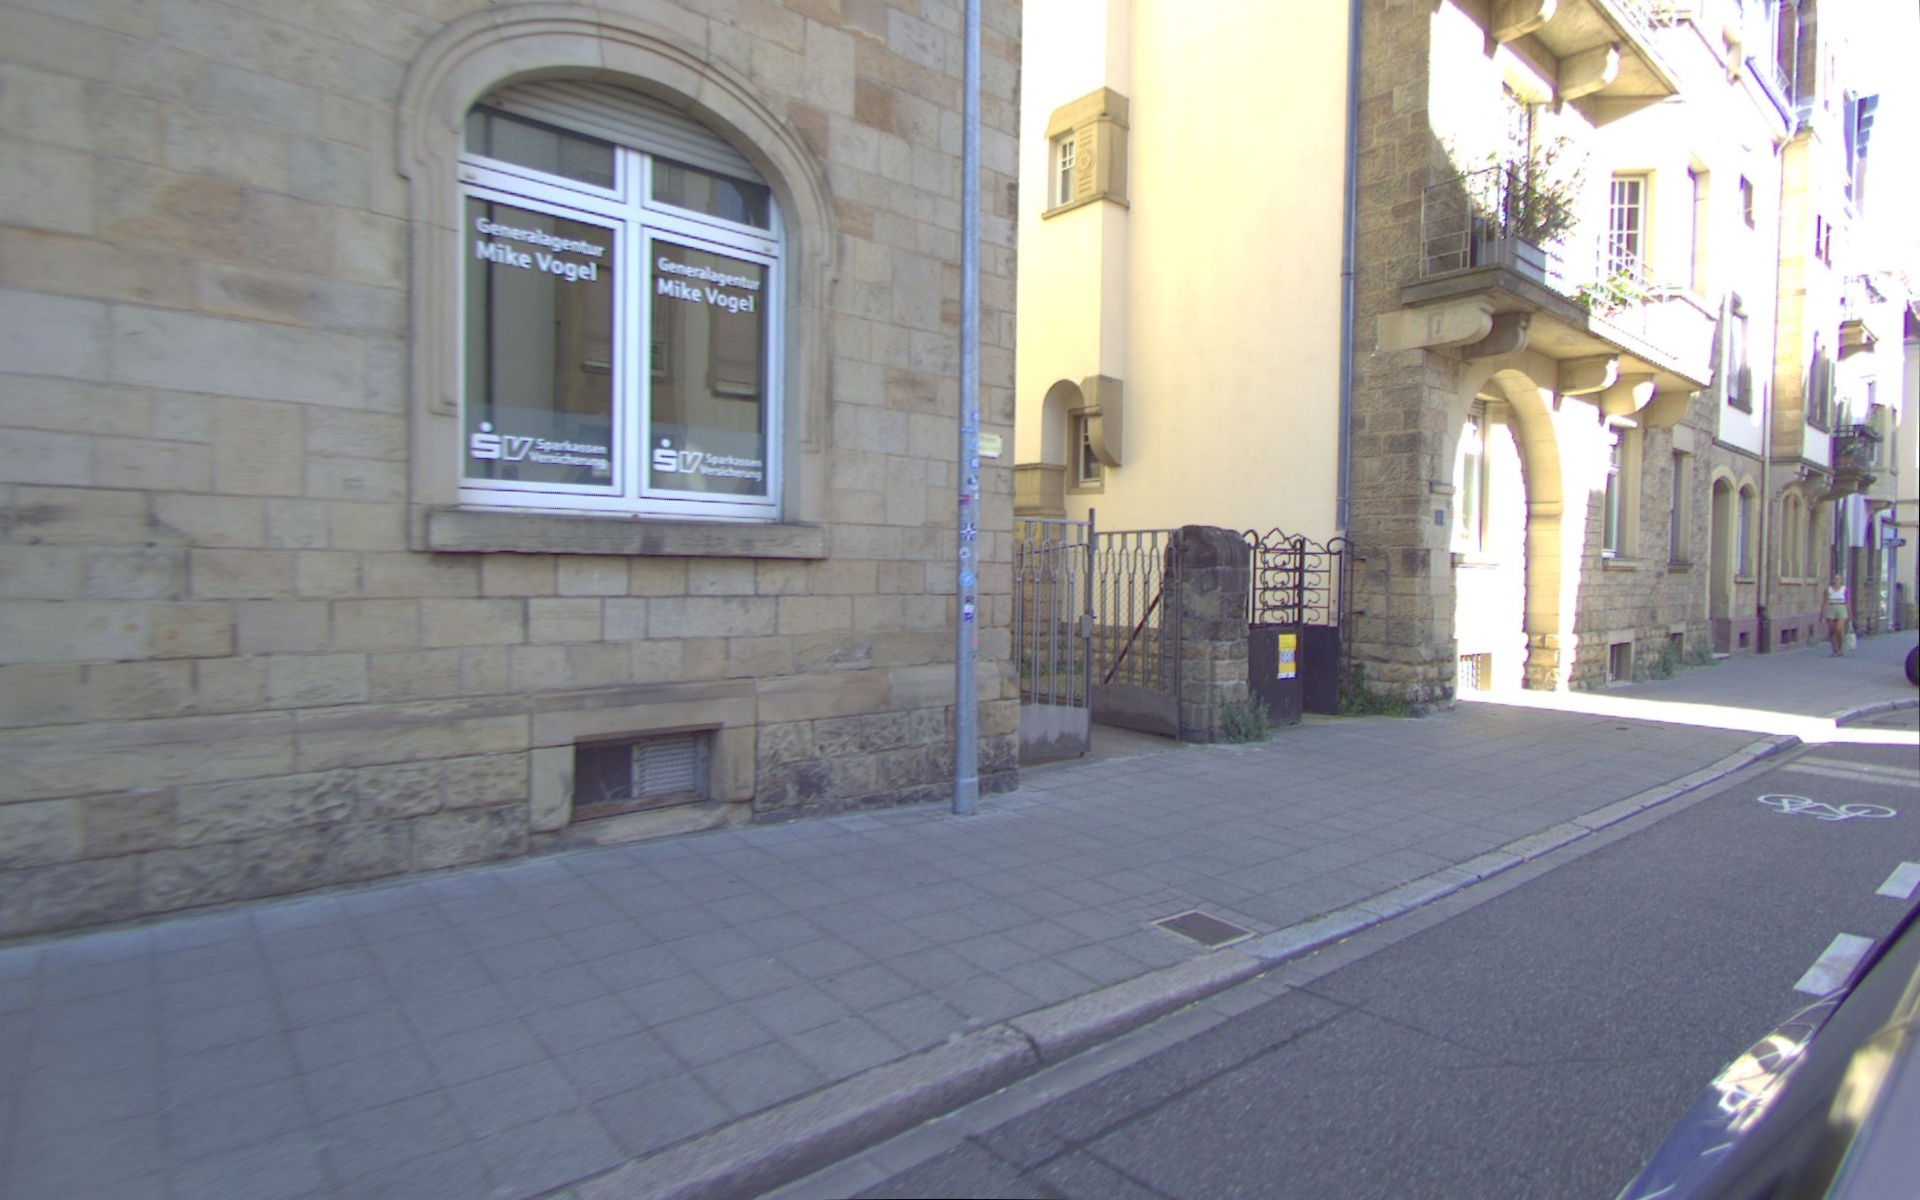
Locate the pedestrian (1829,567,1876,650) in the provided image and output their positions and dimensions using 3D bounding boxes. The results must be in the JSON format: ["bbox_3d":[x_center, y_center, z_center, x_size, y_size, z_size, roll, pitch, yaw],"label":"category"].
[{"bbox_3d":[19.269,0.163,21.849,0.685,1.743,0.578,0,3,-39],"label":"pedestrian"}]

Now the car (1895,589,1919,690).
[{"bbox_3d":[16.696,0.607,16.206,3.928,1.557,1.998,0,-1,-39],"label":"car"}]
